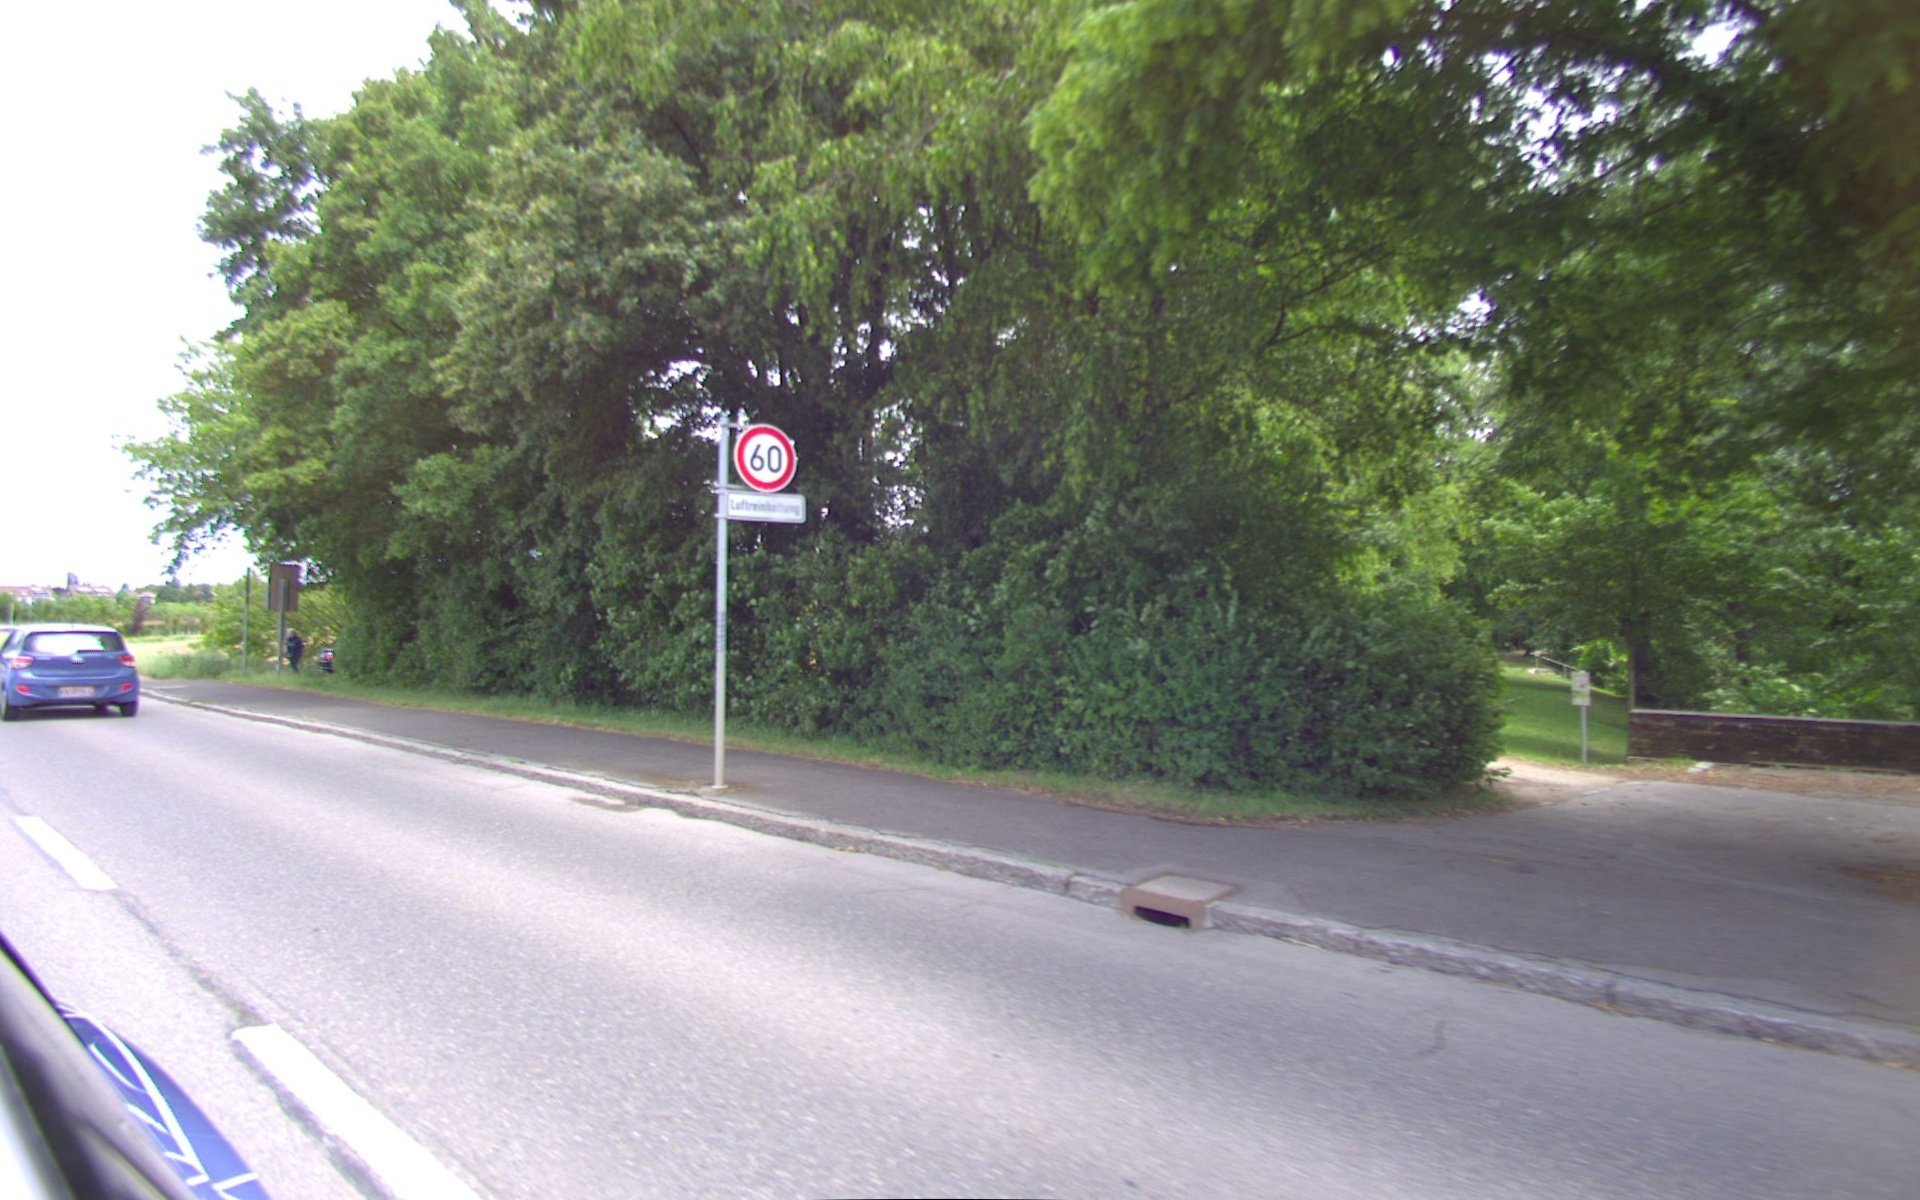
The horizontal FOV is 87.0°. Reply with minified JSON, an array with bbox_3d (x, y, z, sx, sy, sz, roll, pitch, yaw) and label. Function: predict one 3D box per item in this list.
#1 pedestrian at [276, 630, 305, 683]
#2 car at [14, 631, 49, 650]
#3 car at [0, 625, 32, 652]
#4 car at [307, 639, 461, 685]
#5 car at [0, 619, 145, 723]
[{"bbox_3d":[-20.673,1.754,31.250,0.695,1.606,0.708,1,-4,-38],"label":"pedestrian"},{"bbox_3d":[-65.337,2.838,71.176,3.598,1.260,1.433,-1,0,41],"label":"car"},{"bbox_3d":[-55.364,2.214,59.026,3.867,1.459,1.453,-1,0,41],"label":"car"},{"bbox_3d":[-18.222,1.975,32.118,3.938,1.321,1.746,4,-3,-42],"label":"car"},{"bbox_3d":[-15.153,1.119,16.936,3.823,1.540,1.689,-1,-3,41],"label":"car"}]
